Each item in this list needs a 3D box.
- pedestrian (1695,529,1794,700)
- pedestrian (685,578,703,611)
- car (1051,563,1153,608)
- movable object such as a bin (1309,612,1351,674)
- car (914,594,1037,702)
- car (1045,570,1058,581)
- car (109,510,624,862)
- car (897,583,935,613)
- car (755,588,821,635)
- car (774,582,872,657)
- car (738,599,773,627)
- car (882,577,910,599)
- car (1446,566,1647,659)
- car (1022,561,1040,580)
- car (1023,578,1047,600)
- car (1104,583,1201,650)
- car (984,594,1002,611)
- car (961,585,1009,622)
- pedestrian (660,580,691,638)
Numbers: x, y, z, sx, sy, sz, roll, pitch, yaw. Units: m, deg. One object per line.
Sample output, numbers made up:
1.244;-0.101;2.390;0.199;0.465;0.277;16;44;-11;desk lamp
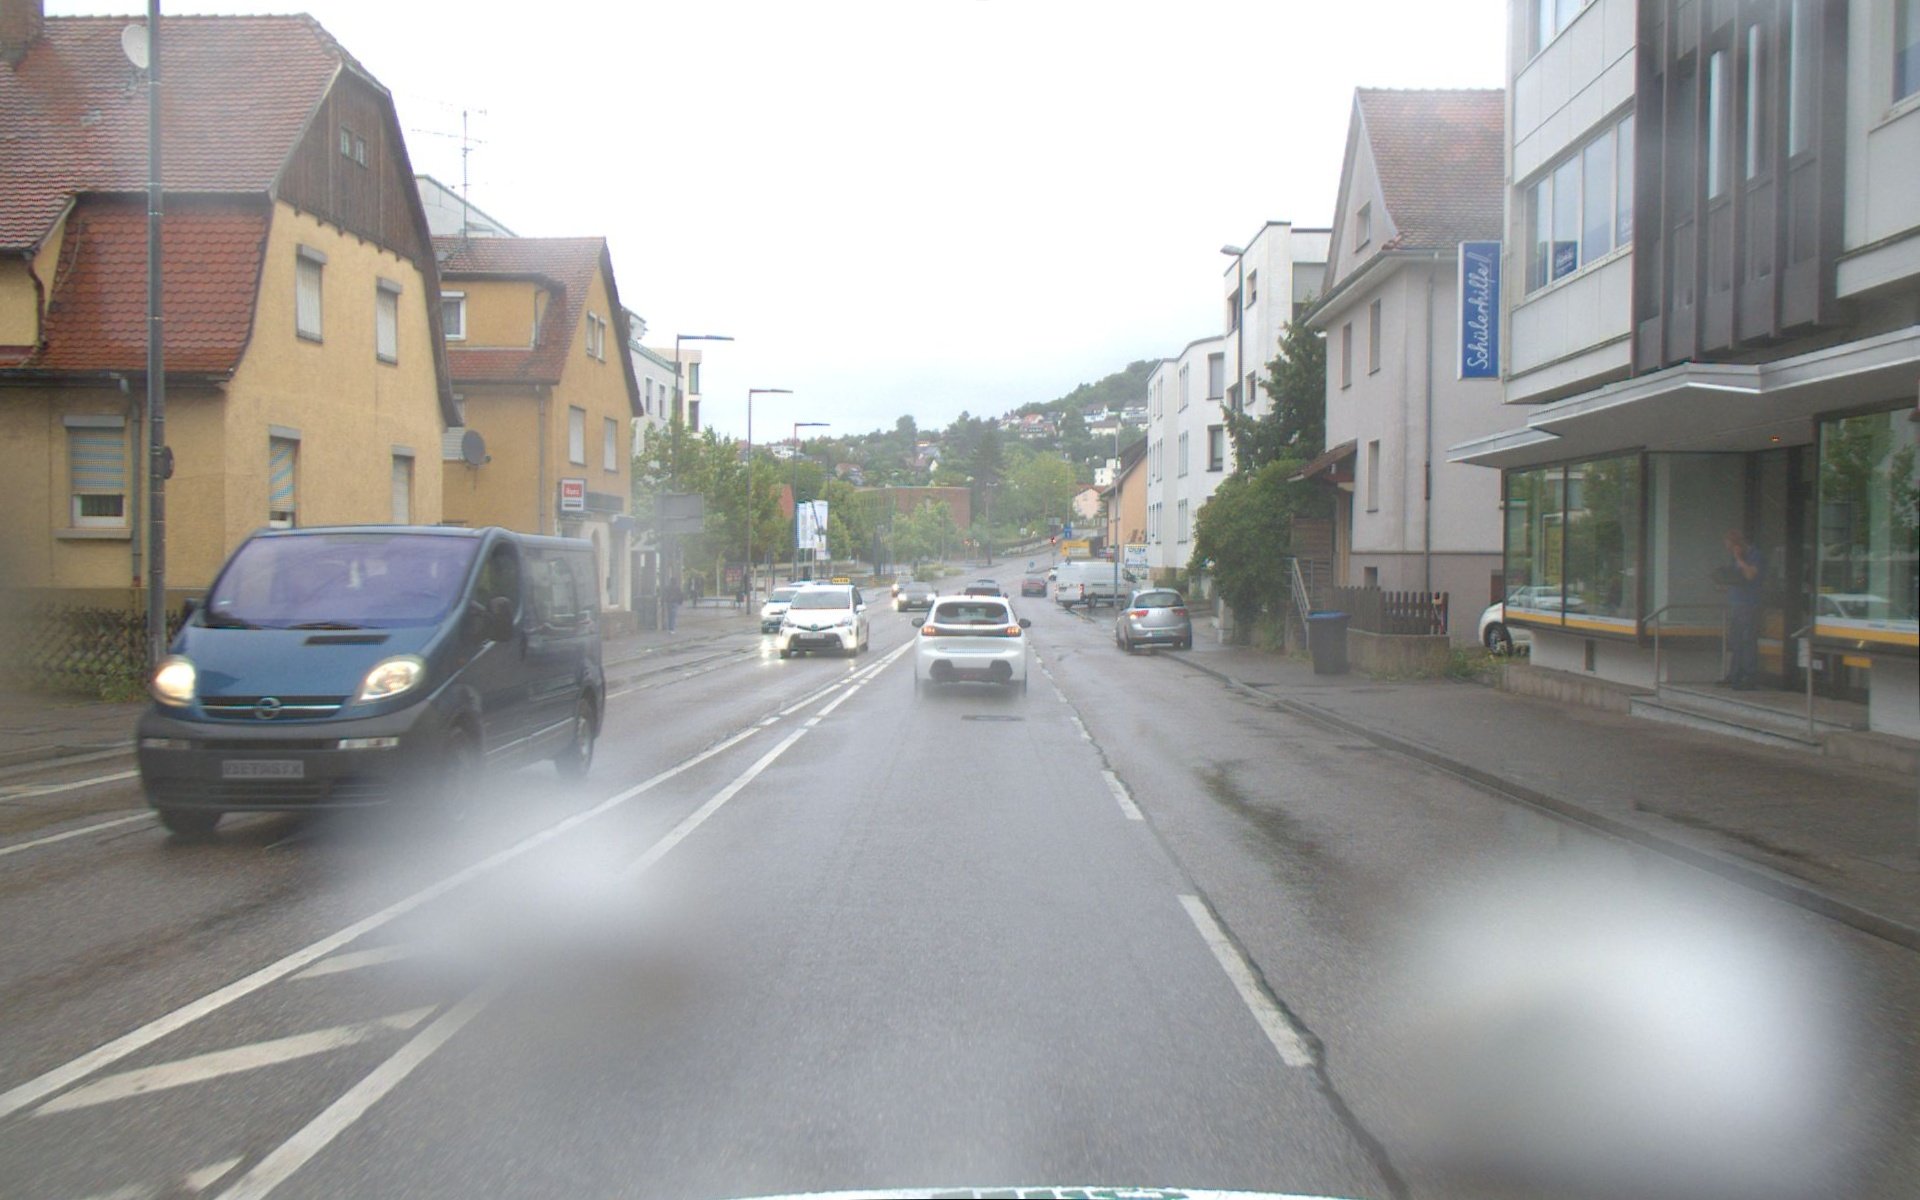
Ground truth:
8.544;0.146;18.051;0.714;1.811;0.954;1;1;9;pedestrian
-14.427;-0.277;89.689;0.792;1.768;1.003;0;-1;0;pedestrian
8.103;-0.770;94.007;2.258;2.424;6.583;-1;-1;42;car
6.646;0.765;29.749;0.564;1.066;0.830;-1;1;1;movable object such as a bin
0.168;0.718;25.597;1.657;1.546;3.930;0;-1;-3;car
9.712;-2.624;175.944;1.356;1.146;2.611;0;-1;3;car
-3.875;0.514;11.930;1.926;1.972;5.178;0;-1;-1;car
-2.189;-0.090;83.443;1.731;1.438;4.526;0;-1;1;car
-5.785;0.396;56.010;1.615;1.442;4.139;-2;-1;2;car
-3.127;0.456;38.686;1.839;1.637;4.719;0;-1;1;car
-9.855;0.636;79.860;1.343;1.337;3.041;0;-1;-1;car
-4.707;-0.896;122.242;1.841;1.550;4.184;0;-1;1;car
10.598;0.229;30.075;1.338;1.528;3.304;-3;1;-32;car
8.335;-3.473;193.933;1.952;2.049;4.000;0;-1;1;car
5.774;-0.860;128.061;1.698;1.411;3.354;1;4;0;car
5.048;0.484;43.916;1.970;1.650;4.359;1;-2;-1;car
2.300;0.182;116.713;1.188;1.176;2.269;0;-1;-1;car
0.955;0.124;61.861;1.705;1.318;3.335;0;0;2;car
-8.969;0.280;52.181;0.784;1.819;0.882;0;-1;2;pedestrian
